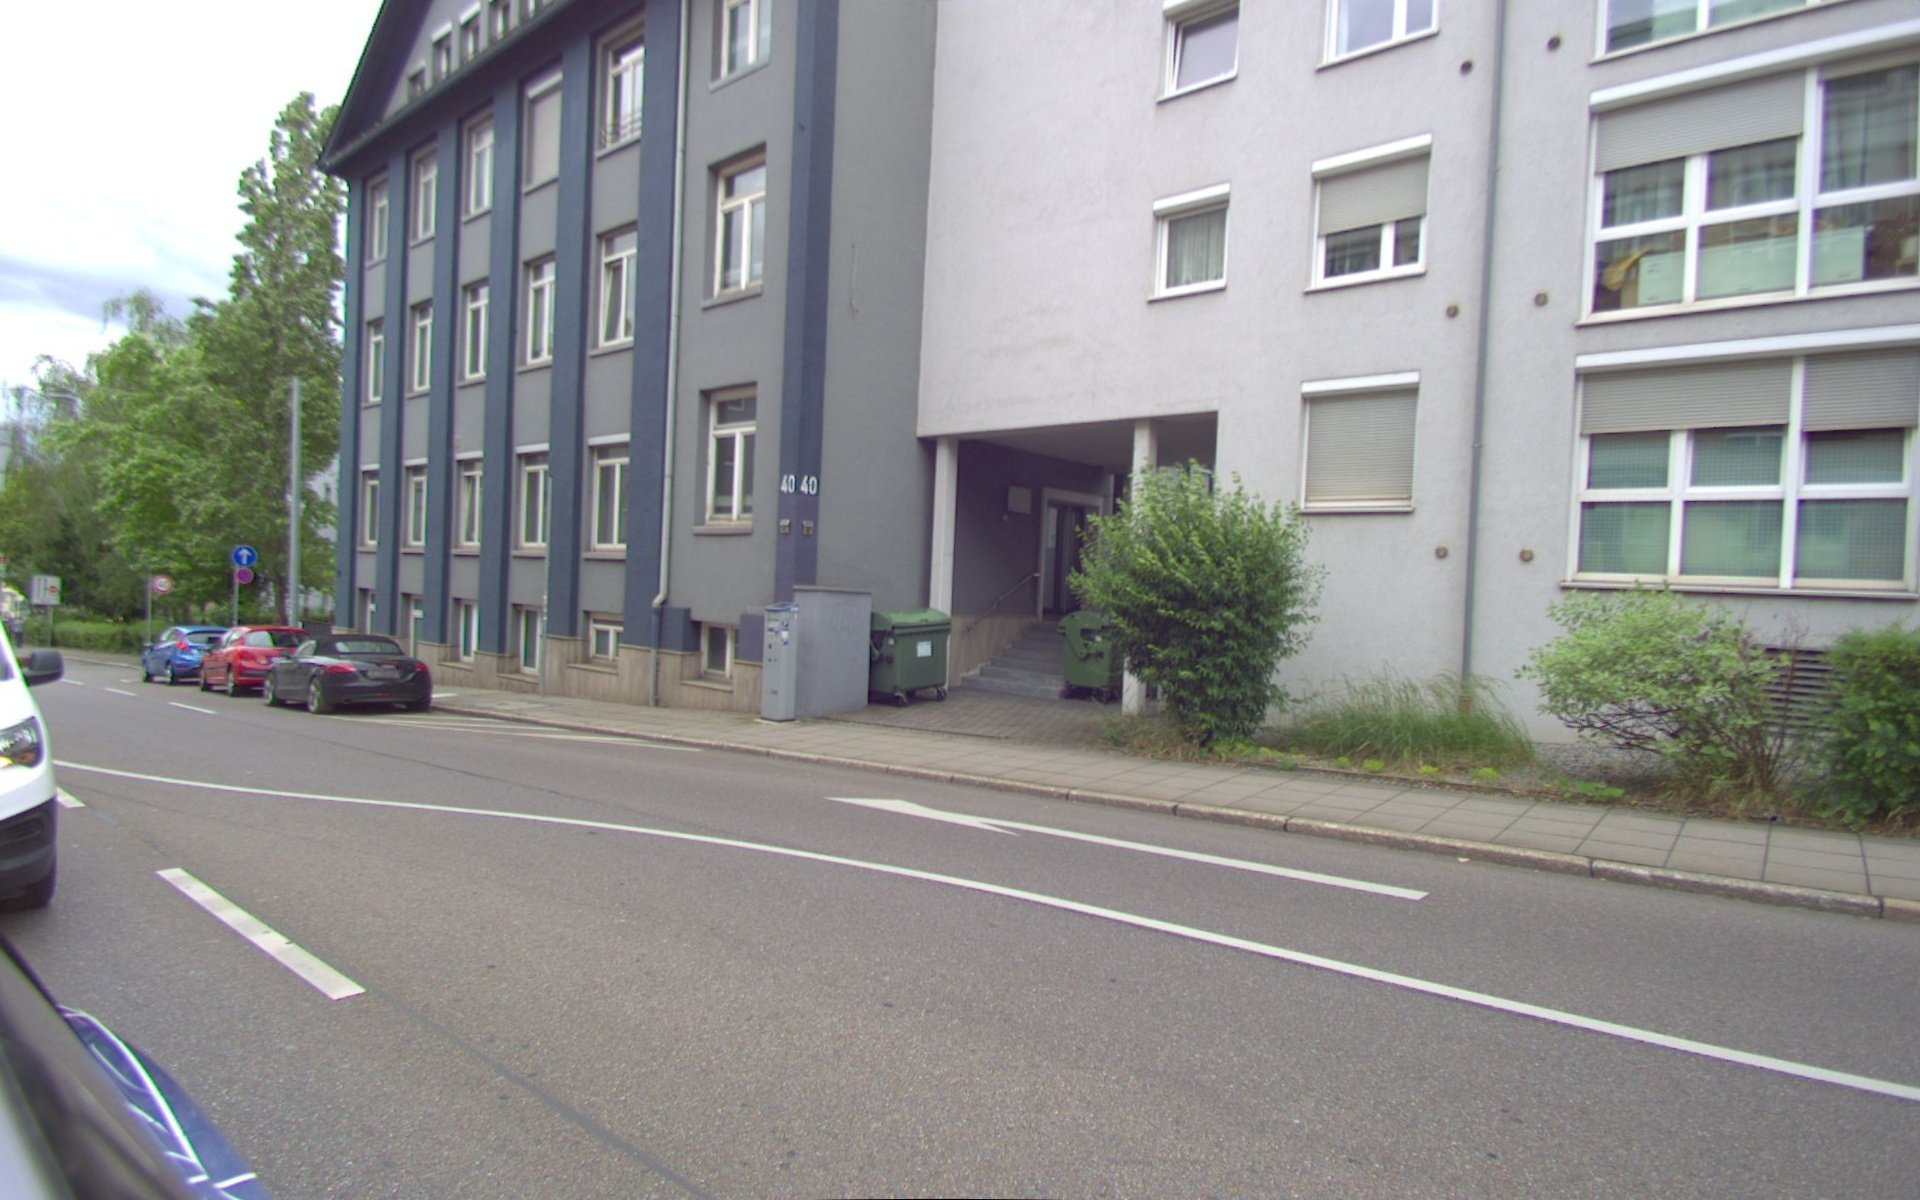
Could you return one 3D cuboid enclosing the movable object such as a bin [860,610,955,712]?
[{"bbox_3d":[-0.805,0.908,15.695,0.784,1.467,1.251,0,1,44],"label":"movable object such as a bin"}]

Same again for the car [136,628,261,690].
[{"bbox_3d":[-19.357,1.448,25.683,3.724,1.465,1.702,-1,-3,40],"label":"car"}]

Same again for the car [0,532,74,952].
[{"bbox_3d":[-6.456,0.666,5.531,4.937,1.821,1.816,-1,0,42],"label":"car"}]

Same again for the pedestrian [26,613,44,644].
[{"bbox_3d":[-55.853,1.738,61.098,0.776,1.864,0.736,-2,-1,42],"label":"pedestrian"}]

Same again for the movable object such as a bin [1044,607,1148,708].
[{"bbox_3d":[2.231,0.918,16.613,1.190,1.489,1.132,5,2,41],"label":"movable object such as a bin"}]

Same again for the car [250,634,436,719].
[{"bbox_3d":[-11.119,1.315,18.135,4.040,1.337,1.701,-1,-4,42],"label":"car"}]

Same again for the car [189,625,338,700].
[{"bbox_3d":[-15.247,1.339,22.097,3.868,1.485,1.795,-2,-4,43],"label":"car"}]
